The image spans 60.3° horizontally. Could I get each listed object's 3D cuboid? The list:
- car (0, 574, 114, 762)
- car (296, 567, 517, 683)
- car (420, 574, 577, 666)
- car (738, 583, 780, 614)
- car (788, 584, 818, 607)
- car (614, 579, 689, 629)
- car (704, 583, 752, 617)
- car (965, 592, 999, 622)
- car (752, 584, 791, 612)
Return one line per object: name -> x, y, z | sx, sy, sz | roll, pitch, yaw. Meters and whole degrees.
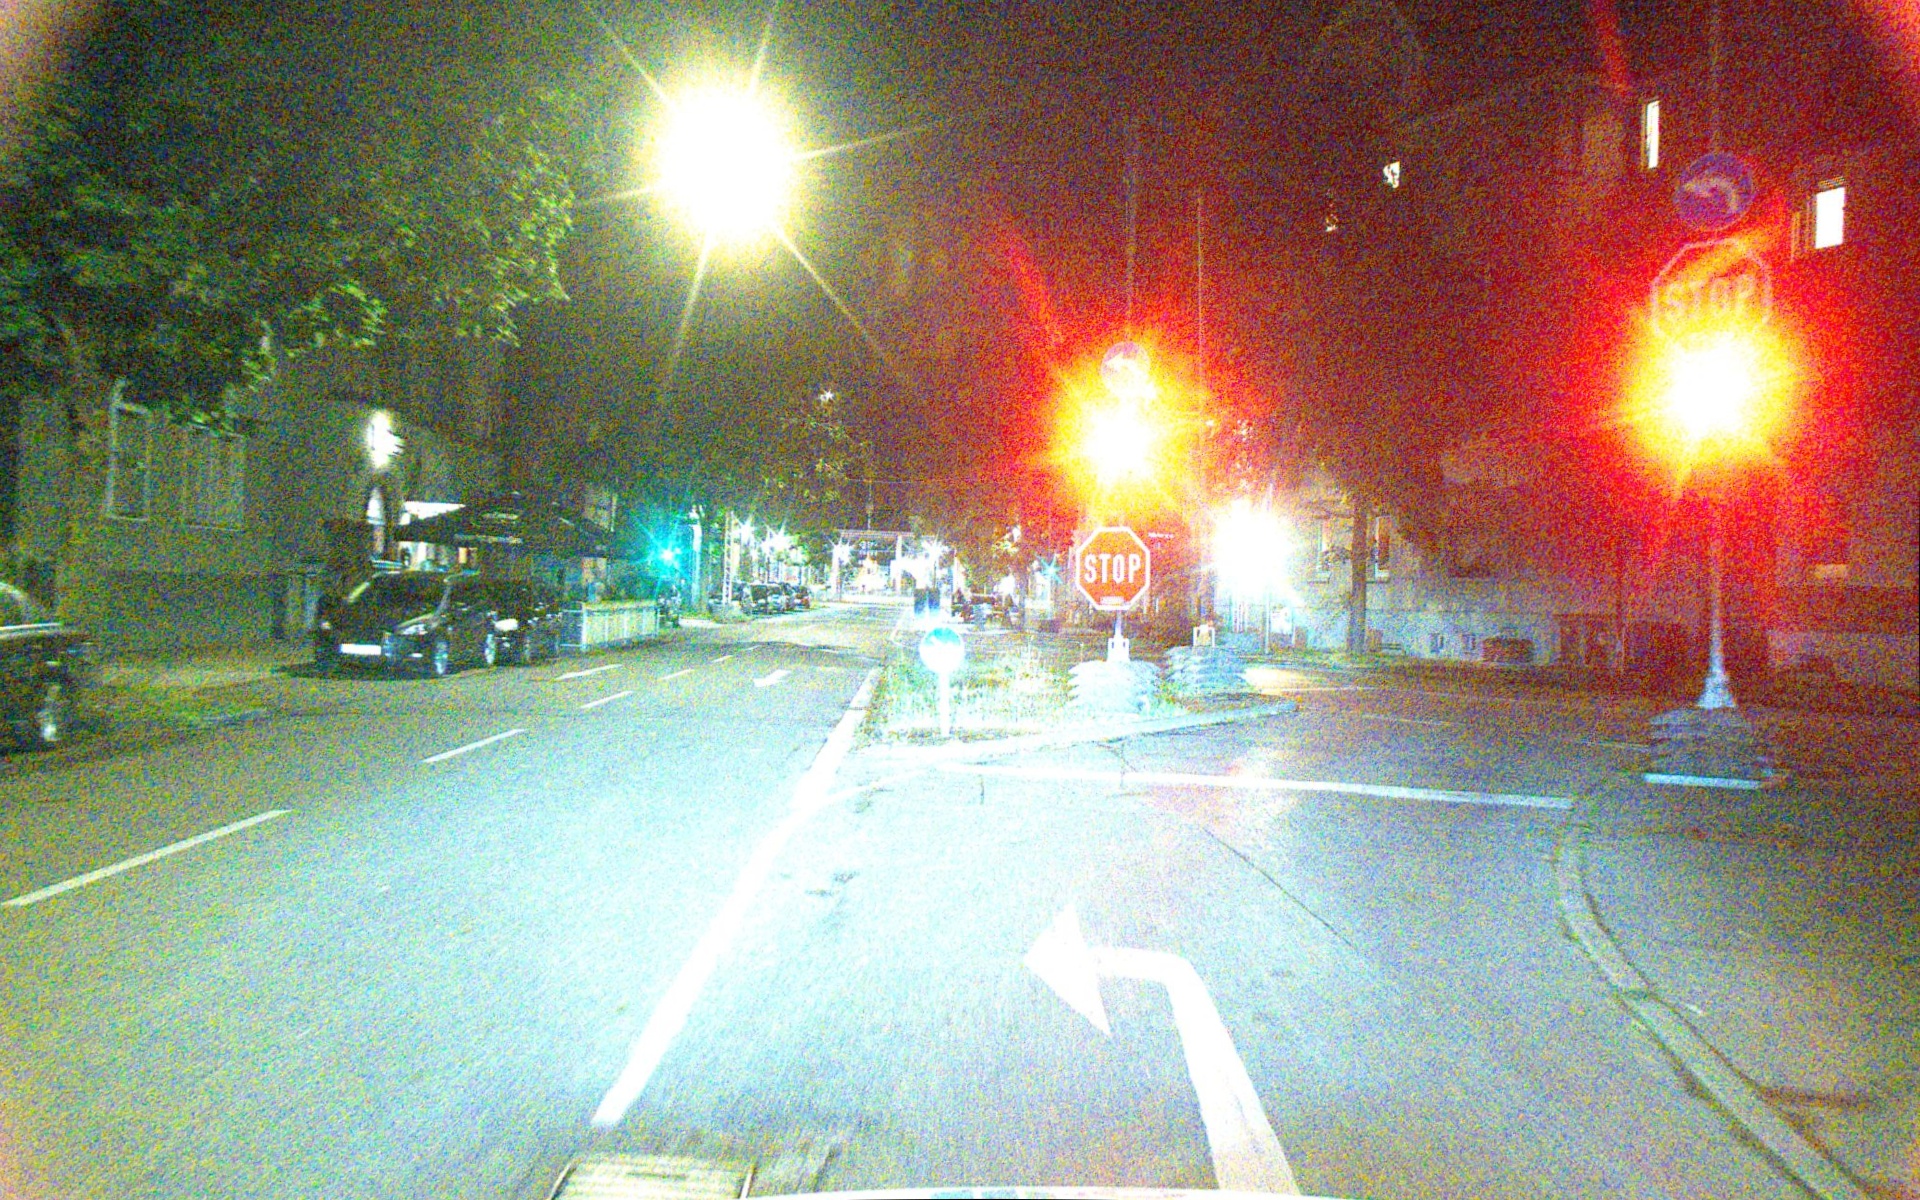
car -> -7.921, 0.496, 11.937 | 1.590, 1.407, 4.448 | 1, 0, -4
car -> -8.244, 0.346, 25.092 | 1.861, 1.497, 4.451 | 3, 0, -1
car -> -8.290, 0.334, 30.086 | 1.767, 1.507, 4.321 | 1, 0, -2
car -> -9.797, -0.087, 80.742 | 1.618, 1.456, 3.999 | 1, 0, -1
car -> -10.195, -0.294, 107.368 | 1.618, 1.456, 3.999 | 1, 0, -1
car -> -9.516, 0.115, 51.252 | 1.618, 1.456, 3.999 | 1, 0, -1
car -> -10.144, -0.003, 72.674 | 1.618, 1.456, 3.999 | 1, 0, -1
car -> 1.099, 0.331, 83.524 | 1.617, 1.456, 4.000 | 1, 0, 0
car -> -9.863, -0.111, 86.752 | 1.618, 1.456, 3.999 | 1, 0, -1
